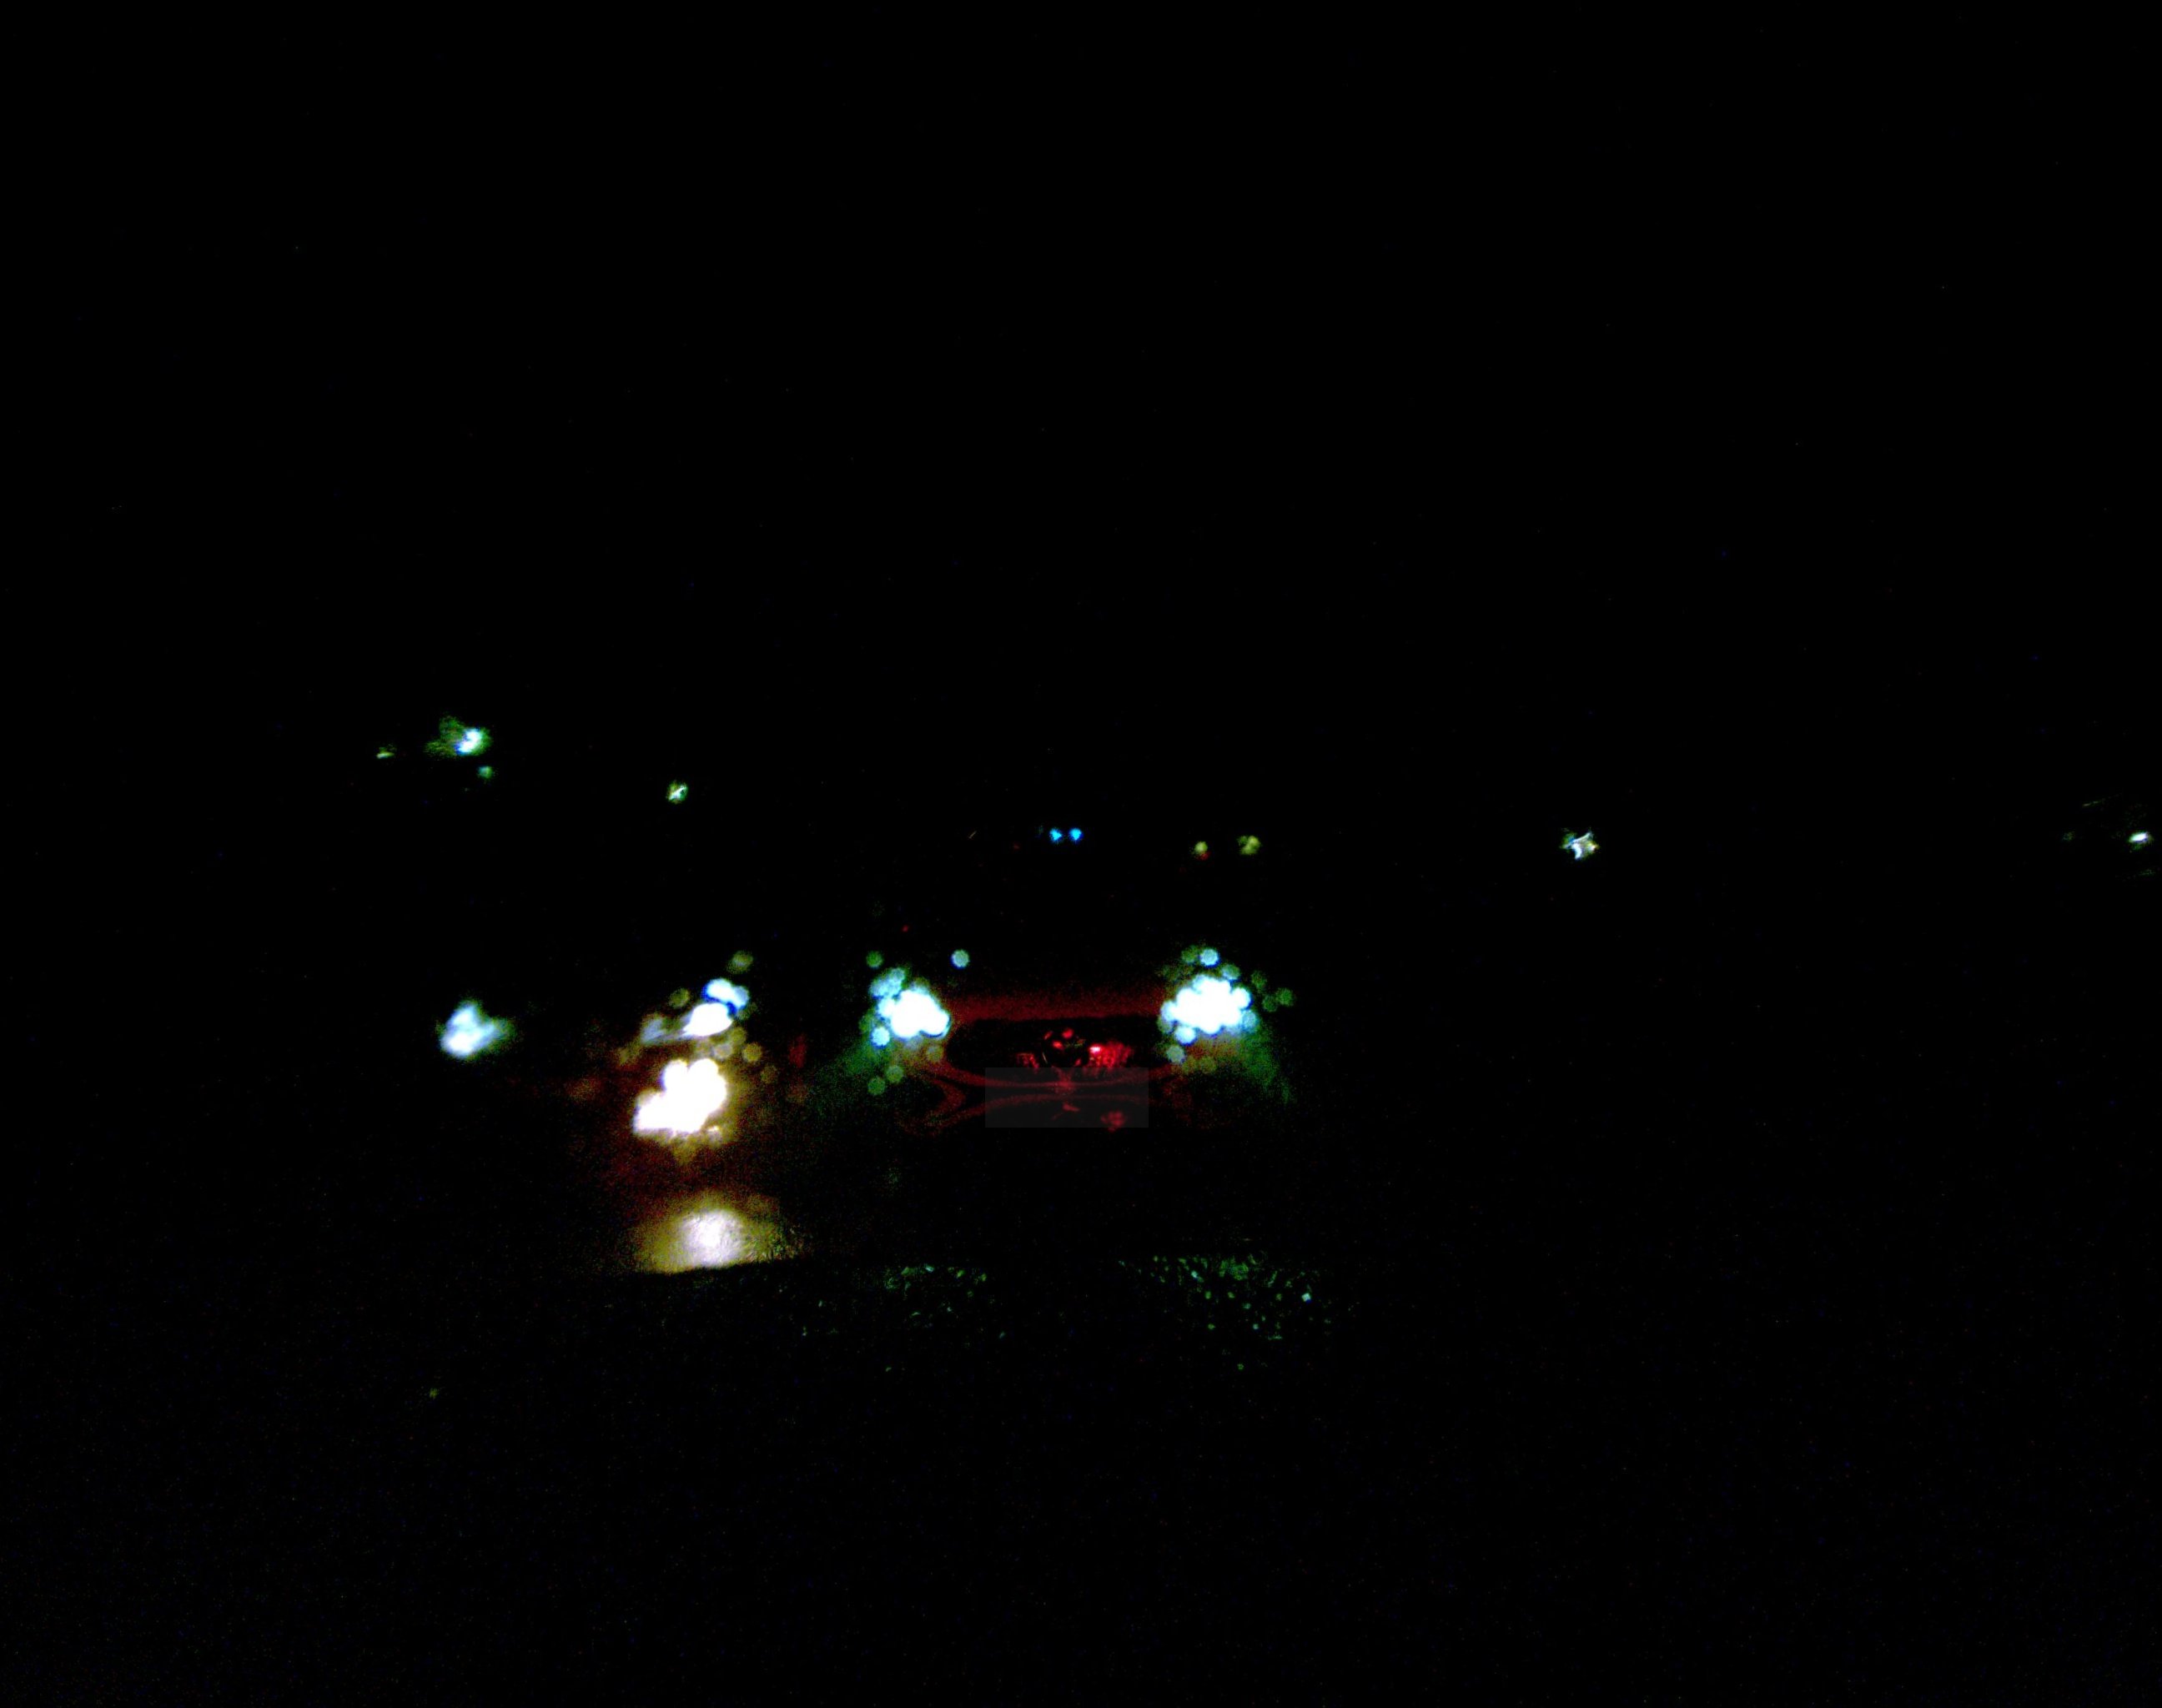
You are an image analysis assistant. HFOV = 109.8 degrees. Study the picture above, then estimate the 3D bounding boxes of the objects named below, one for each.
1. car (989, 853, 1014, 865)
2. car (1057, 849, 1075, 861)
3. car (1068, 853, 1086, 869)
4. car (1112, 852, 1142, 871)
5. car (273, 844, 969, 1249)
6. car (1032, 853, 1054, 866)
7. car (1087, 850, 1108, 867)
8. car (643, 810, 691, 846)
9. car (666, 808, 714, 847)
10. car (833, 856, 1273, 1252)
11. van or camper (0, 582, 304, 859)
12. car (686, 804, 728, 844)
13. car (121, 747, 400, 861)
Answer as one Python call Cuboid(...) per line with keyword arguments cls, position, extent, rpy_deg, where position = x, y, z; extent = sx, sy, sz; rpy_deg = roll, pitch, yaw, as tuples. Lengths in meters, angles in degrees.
Cuboid(cls="car", position=(-14.327, 0.959, 136.759), extent=(2.095, 2.002, 4.700), rpy_deg=(-2, 1, -43))
Cuboid(cls="car", position=(-2.276, 0.121, 115.112), extent=(2.000, 1.687, 3.996), rpy_deg=(-3, 1, -11))
Cuboid(cls="car", position=(-0.502, 0.917, 99.925), extent=(1.999, 2.002, 3.998), rpy_deg=(-2, 1, -4))
Cuboid(cls="car", position=(3.965, 0.698, 66.004), extent=(1.893, 1.559, 4.484), rpy_deg=(-1, -1, -5))
Cuboid(cls="car", position=(-2.418, 0.832, 5.798), extent=(1.838, 1.725, 4.943), rpy_deg=(-2, 1, 6))
Cuboid(cls="car", position=(-6.453, 0.927, 128.886), extent=(2.003, 2.002, 3.990), rpy_deg=(-3, 1, -33))
Cuboid(cls="car", position=(2.087, 0.578, 97.606), extent=(2.091, 2.002, 4.710), rpy_deg=(-2, 1, -5))
Cuboid(cls="car", position=(-25.013, -1.538, 46.033), extent=(1.735, 2.002, 3.696), rpy_deg=(-3, 1, -16))
Cuboid(cls="car", position=(-26.325, -1.749, 51.313), extent=(1.937, 2.406, 4.249), rpy_deg=(-3, 1, -16))
Cuboid(cls="car", position=(-0.088, 0.874, 5.437), extent=(1.826, 1.573, 4.354), rpy_deg=(-2, 1, 1))
Cuboid(cls="van or camper", position=(-12.778, -1.371, 9.063), extent=(2.417, 2.777, 5.763), rpy_deg=(-3, 1, -18))
Cuboid(cls="car", position=(-27.785, -2.217, 56.514), extent=(1.937, 2.759, 4.249), rpy_deg=(-3, 1, -16))
Cuboid(cls="car", position=(-16.397, -0.919, 15.564), extent=(2.001, 2.002, 3.994), rpy_deg=(-3, 1, -16))
